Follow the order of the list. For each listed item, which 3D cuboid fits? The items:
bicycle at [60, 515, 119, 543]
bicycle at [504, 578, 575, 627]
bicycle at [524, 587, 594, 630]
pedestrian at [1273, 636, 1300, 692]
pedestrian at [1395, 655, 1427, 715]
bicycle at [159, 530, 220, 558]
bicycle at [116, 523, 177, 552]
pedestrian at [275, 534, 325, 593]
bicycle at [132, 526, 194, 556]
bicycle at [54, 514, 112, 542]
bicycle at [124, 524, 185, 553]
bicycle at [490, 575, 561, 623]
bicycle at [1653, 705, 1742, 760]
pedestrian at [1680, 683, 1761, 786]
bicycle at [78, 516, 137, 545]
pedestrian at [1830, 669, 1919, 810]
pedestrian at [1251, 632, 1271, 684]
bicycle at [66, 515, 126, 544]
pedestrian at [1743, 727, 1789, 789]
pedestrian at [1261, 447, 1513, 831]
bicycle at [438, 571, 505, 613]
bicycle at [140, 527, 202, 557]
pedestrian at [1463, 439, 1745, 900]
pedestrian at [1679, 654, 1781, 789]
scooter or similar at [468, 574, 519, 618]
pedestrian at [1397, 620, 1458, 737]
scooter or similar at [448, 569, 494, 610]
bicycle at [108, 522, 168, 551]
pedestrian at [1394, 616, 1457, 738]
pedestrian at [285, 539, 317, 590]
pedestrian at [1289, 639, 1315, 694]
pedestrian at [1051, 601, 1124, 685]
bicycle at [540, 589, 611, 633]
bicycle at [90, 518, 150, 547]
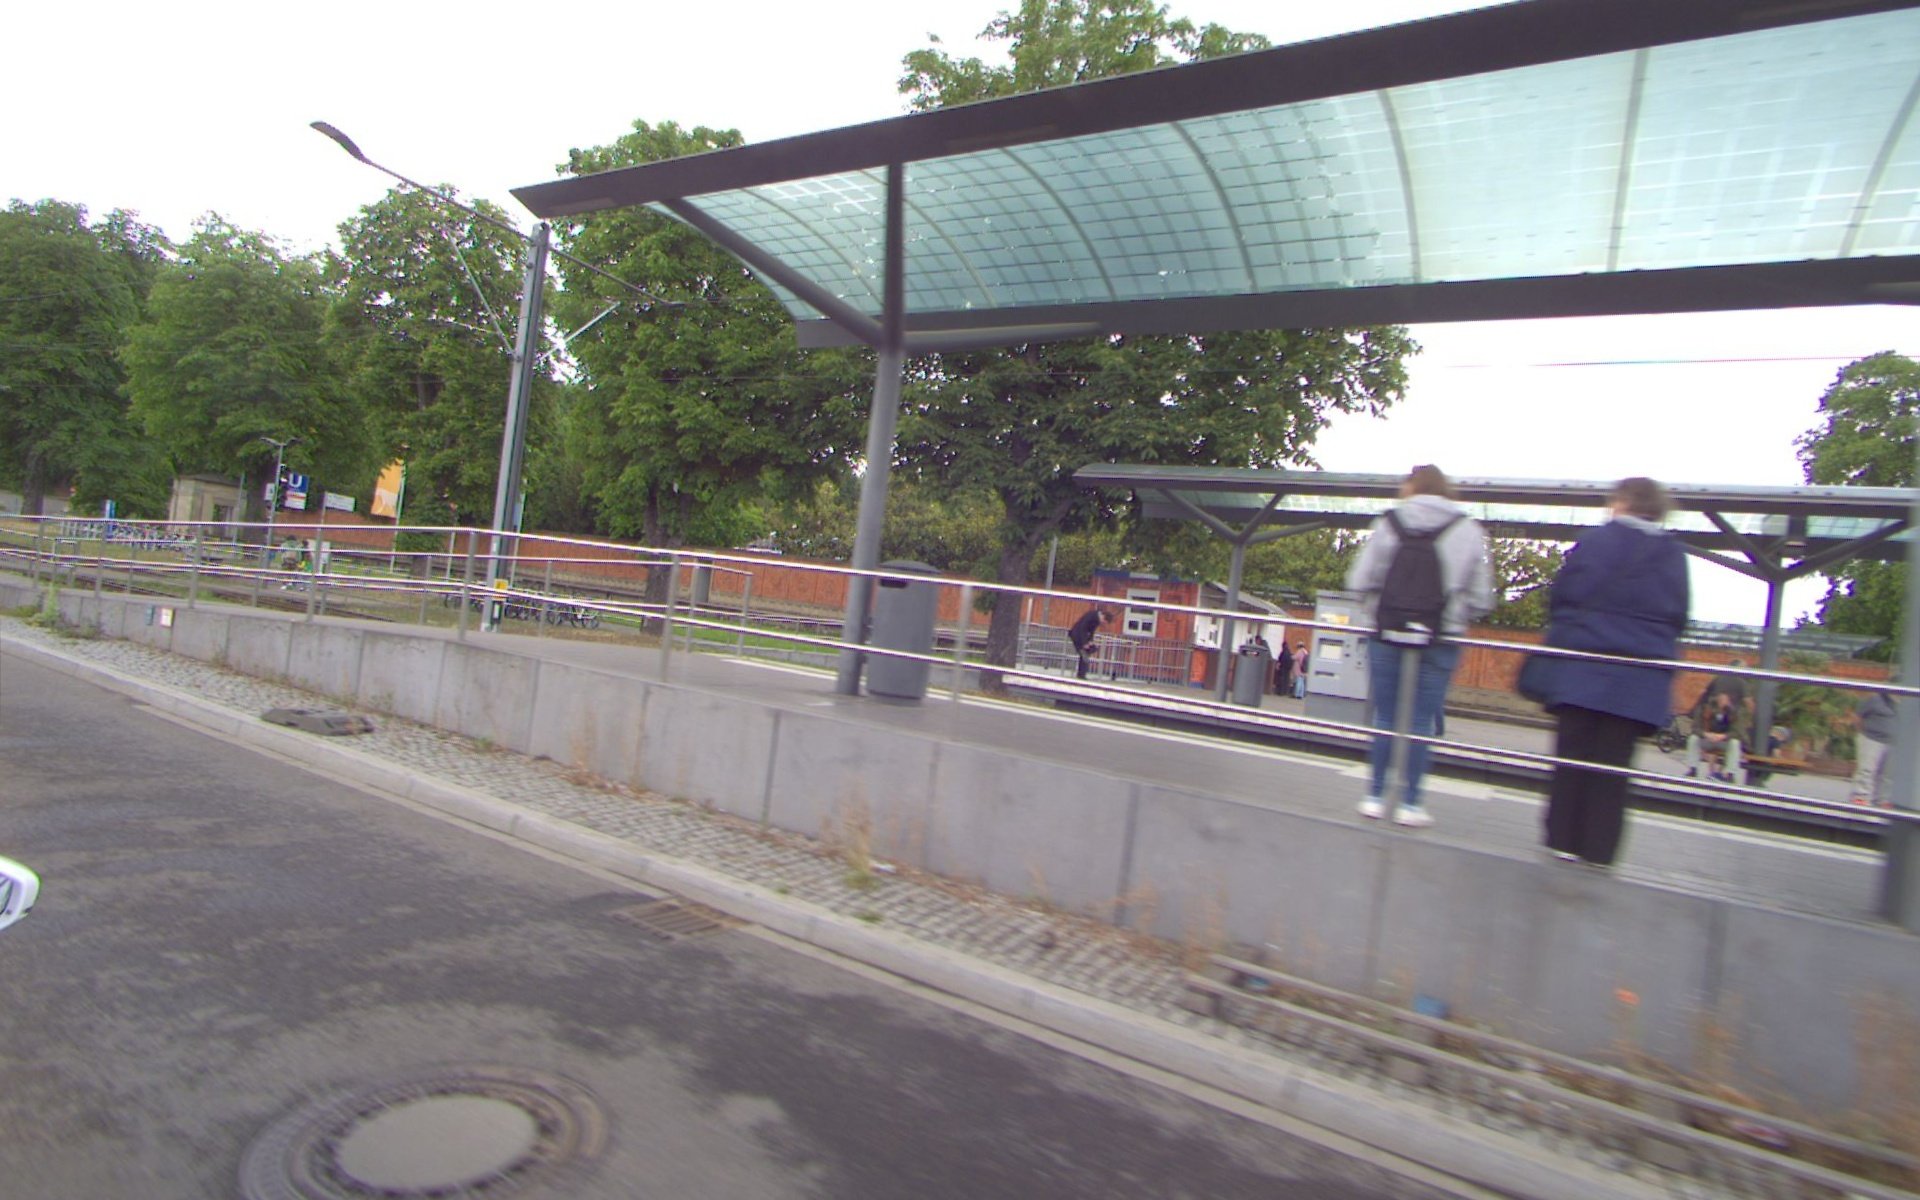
[{"bbox_3d":[-39.955,-3.272,46.205,0.522,0.987,1.915,7,-1,31],"label":"bicycle"},{"bbox_3d":[-12.413,0.088,29.761,0.524,1.151,1.879,6,-4,31],"label":"bicycle"},{"bbox_3d":[-11.690,0.250,29.393,0.524,0.973,1.879,6,-4,31],"label":"bicycle"},{"bbox_3d":[9.554,1.882,29.443,0.452,1.552,0.486,6,-3,34],"label":"pedestrian"},{"bbox_3d":[12.814,2.424,28.586,0.611,1.600,0.587,7,-3,18],"label":"pedestrian"},{"bbox_3d":[-32.191,-2.337,42.071,0.522,0.906,1.915,7,-1,31],"label":"bicycle"},{"bbox_3d":[-35.222,-2.693,43.561,0.522,0.987,1.915,7,-1,31],"label":"bicycle"},{"bbox_3d":[-20.068,-1.100,30.597,0.763,1.629,0.835,7,0,9],"label":"pedestrian"},{"bbox_3d":[-33.822,-2.495,42.704,0.522,0.987,1.915,7,-1,31],"label":"bicycle"},{"bbox_3d":[-40.706,-3.349,46.715,0.522,0.987,1.915,7,-1,31],"label":"bicycle"},{"bbox_3d":[-34.585,-2.626,43.212,0.522,0.987,1.915,7,-1,31],"label":"bicycle"},{"bbox_3d":[-13.128,-0.014,30.464,0.524,1.151,1.879,6,-4,31],"label":"bicycle"},{"bbox_3d":[18.220,3.262,24.854,1.684,1.072,0.565,8,-3,0],"label":"bicycle"},{"bbox_3d":[9.755,1.726,12.928,0.664,1.204,0.659,6,-3,32],"label":"pedestrian"},{"bbox_3d":[-38.478,-3.120,45.415,0.522,0.987,1.915,7,-1,31],"label":"bicycle"},{"bbox_3d":[11.459,1.737,12.593,0.664,1.637,0.526,6,-3,32],"label":"pedestrian"},{"bbox_3d":[8.986,1.731,30.037,0.311,1.503,0.342,6,-3,34],"label":"pedestrian"},{"bbox_3d":[-39.173,-3.195,45.639,0.522,0.987,1.915,7,-1,31],"label":"bicycle"},{"bbox_3d":[10.849,2.130,13.548,0.418,0.748,0.562,6,-4,40],"label":"pedestrian"},{"bbox_3d":[2.000,0.177,4.671,0.762,1.570,0.752,9,-2,32],"label":"pedestrian"},{"bbox_3d":[-15.218,-0.241,31.374,0.475,1.044,1.769,6,-4,31],"label":"bicycle"},{"bbox_3d":[-33.256,-2.431,42.418,0.522,0.987,1.915,7,-1,31],"label":"bicycle"},{"bbox_3d":[2.704,0.276,4.276,0.719,1.718,0.772,9,-2,32],"label":"pedestrian"},{"bbox_3d":[10.536,1.657,13.793,0.747,1.695,0.864,7,-3,21],"label":"pedestrian"},{"bbox_3d":[-14.335,-0.116,30.945,0.328,1.151,1.276,6,-4,38],"label":"scooter or similar"},{"bbox_3d":[7.252,1.228,15.591,0.665,1.695,0.676,7,-3,28],"label":"pedestrian"},{"bbox_3d":[-15.779,-0.332,32.498,1.157,1.151,0.330,10,-4,-35],"label":"scooter or similar"},{"bbox_3d":[-35.881,-2.776,43.947,0.522,0.987,1.915,7,-1,31],"label":"bicycle"},{"bbox_3d":[6.926,1.150,14.965,0.664,1.695,0.546,7,-3,28],"label":"pedestrian"},{"bbox_3d":[-20.741,-1.097,31.649,0.506,1.520,0.498,7,0,9],"label":"pedestrian"},{"bbox_3d":[9.850,1.918,28.976,0.452,1.503,0.486,6,-3,34],"label":"pedestrian"},{"bbox_3d":[2.290,0.764,17.998,0.951,1.338,0.675,6,-3,30],"label":"pedestrian"},{"bbox_3d":[-11.073,0.328,29.041,0.524,0.973,1.879,6,-4,31],"label":"bicycle"},{"bbox_3d":[-37.699,-3.031,45.165,0.522,0.987,1.915,7,-1,31],"label":"bicycle"}]
